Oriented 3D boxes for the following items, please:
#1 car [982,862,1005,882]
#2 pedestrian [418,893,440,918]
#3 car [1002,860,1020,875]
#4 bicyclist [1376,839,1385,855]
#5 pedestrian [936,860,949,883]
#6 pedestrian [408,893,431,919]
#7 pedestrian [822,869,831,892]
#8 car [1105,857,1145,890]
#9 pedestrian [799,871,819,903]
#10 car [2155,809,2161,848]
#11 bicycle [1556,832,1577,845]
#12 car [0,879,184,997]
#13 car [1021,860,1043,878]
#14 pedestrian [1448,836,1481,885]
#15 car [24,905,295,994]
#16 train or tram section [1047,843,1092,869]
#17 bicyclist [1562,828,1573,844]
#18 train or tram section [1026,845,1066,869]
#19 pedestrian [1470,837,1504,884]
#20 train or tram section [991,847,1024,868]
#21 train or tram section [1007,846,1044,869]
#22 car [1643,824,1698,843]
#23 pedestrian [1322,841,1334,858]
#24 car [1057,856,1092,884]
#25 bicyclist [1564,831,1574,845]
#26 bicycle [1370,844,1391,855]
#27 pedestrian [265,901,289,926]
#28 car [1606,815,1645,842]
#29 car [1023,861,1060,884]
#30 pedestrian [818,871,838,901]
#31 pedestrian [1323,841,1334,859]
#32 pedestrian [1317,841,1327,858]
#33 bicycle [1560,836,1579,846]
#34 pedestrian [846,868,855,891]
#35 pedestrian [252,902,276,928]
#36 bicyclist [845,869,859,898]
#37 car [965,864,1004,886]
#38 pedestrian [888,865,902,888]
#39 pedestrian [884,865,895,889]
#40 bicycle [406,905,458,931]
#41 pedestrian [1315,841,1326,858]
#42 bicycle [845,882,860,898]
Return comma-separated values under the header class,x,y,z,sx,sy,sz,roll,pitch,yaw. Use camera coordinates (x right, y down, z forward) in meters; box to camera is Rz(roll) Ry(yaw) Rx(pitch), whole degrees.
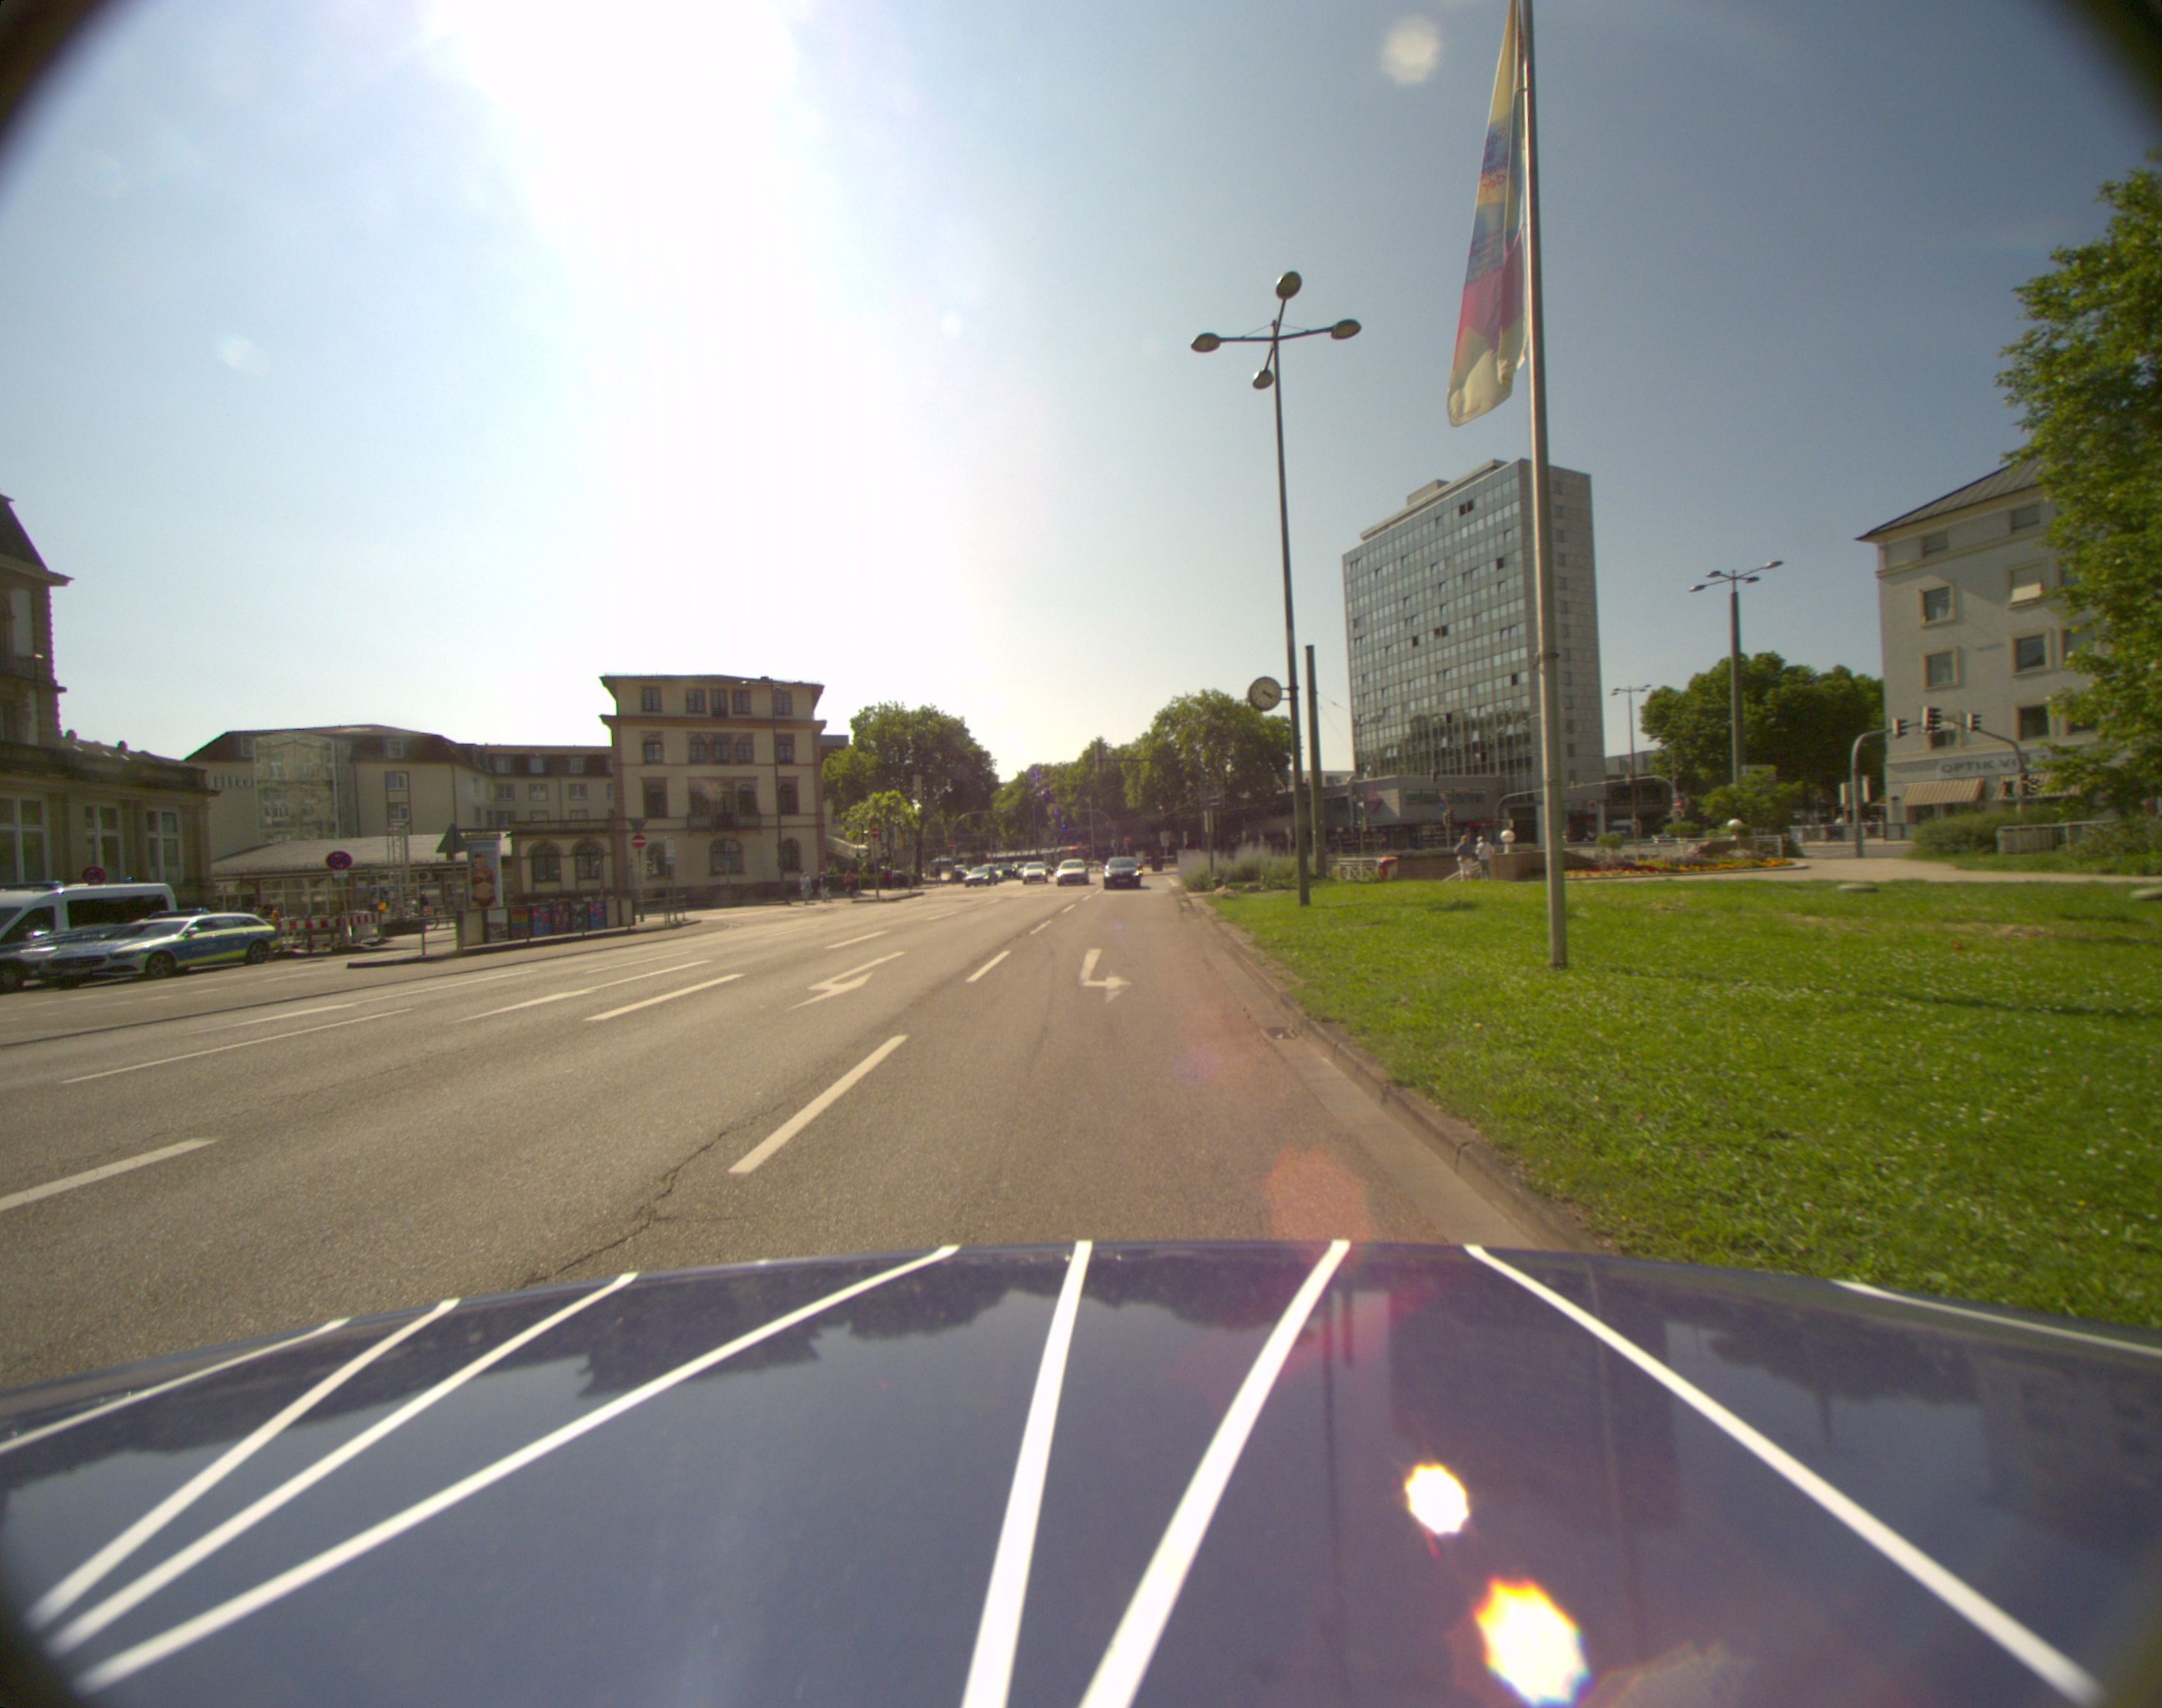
class,x,y,z,sx,sy,sz,roll,pitch,yaw
car,-7.321,1.502,63.987,1.792,1.521,3.972,-2,0,-5
pedestrian,-42.821,3.394,49.930,0.724,1.594,0.719,-3,0,0
car,-7.269,1.352,78.562,1.792,1.443,3.972,-2,0,-5
bicyclist,32.120,-0.743,81.432,0.683,1.677,0.584,-3,0,7
pedestrian,-11.480,1.468,62.851,0.590,1.834,0.730,-3,1,44
pedestrian,-42.836,3.375,49.207,0.724,1.594,0.719,-3,0,-1
pedestrian,-18.930,1.979,56.577,0.536,1.639,0.673,-3,0,-21
car,2.104,0.911,36.666,1.790,1.443,4.281,-2,0,3
pedestrian,-14.688,1.782,41.072,0.753,1.650,0.829,-3,0,-5
car,38.826,-0.953,25.100,1.613,1.338,3.578,-3,0,-24
bicycle,53.107,-1.692,83.075,1.939,1.292,0.716,-3,2,-7
car,-25.800,2.017,18.655,2.001,2.588,5.312,-3,0,-13
car,-4.405,1.339,67.834,1.792,1.521,3.972,-2,0,-5
pedestrian,12.856,0.206,25.465,0.692,1.584,0.599,-3,0,-11
car,-23.195,2.303,19.504,1.823,1.617,4.874,-3,0,-15
train or tram section,-1.684,0.395,104.508,2.738,3.248,8.721,-3,0,-24
bicyclist,53.142,-1.978,83.064,0.684,1.758,0.696,-3,2,-7
train or tram section,-5.280,0.482,112.417,2.738,3.248,8.721,-3,0,-24
pedestrian,13.623,0.216,25.513,0.851,1.501,0.475,-3,0,-11
train or tram section,-12.462,0.654,128.328,2.738,3.248,8.721,-3,0,-24
train or tram section,-8.883,0.569,120.367,2.738,3.248,8.721,-3,0,-24
car,55.545,-1.945,71.612,4.079,1.525,1.881,-3,0,-11
pedestrian,26.226,-0.469,80.655,0.824,1.825,0.733,-3,1,-24
car,-0.325,0.916,44.336,1.719,1.491,4.492,-2,-1,3
bicyclist,52.106,-1.717,81.129,0.684,1.518,0.582,-3,2,-13
bicycle,32.056,-0.443,81.447,1.967,1.096,0.577,-3,0,6
pedestrian,-53.053,3.917,50.160,0.723,1.594,0.719,-3,0,7
car,64.769,-3.054,90.389,4.641,2.899,1.744,-3,0,-26
car,-2.718,1.252,53.065,1.790,1.443,3.976,-2,0,8
pedestrian,-13.919,1.766,41.803,0.773,1.563,0.829,-3,0,-4
pedestrian,25.735,-0.442,79.026,0.824,1.825,0.670,-3,1,-25
pedestrian,26.524,-0.494,83.601,0.823,1.796,0.671,-2,1,2
bicycle,52.148,-1.394,81.139,1.811,0.878,0.592,-3,2,-13
pedestrian,-16.927,1.873,55.849,0.536,1.639,0.579,-3,0,-21
pedestrian,-52.482,3.906,48.808,0.723,1.594,0.719,-3,0,8
bicyclist,-13.139,1.687,43.634,0.593,1.597,0.683,-3,0,-10
car,-7.023,1.496,55.877,1.790,1.443,3.976,-2,0,9
pedestrian,-14.053,1.730,57.402,0.845,1.685,0.743,-3,0,-25
pedestrian,-14.640,1.751,58.065,0.726,1.795,0.652,-3,0,-17
bicycle,-29.975,2.952,35.098,1.820,1.093,0.504,-2,0,-6
pedestrian,25.716,-0.454,81.719,0.824,1.825,0.670,-3,1,-24
bicycle,-13.103,2.056,43.573,0.593,0.850,1.743,-3,0,-10
